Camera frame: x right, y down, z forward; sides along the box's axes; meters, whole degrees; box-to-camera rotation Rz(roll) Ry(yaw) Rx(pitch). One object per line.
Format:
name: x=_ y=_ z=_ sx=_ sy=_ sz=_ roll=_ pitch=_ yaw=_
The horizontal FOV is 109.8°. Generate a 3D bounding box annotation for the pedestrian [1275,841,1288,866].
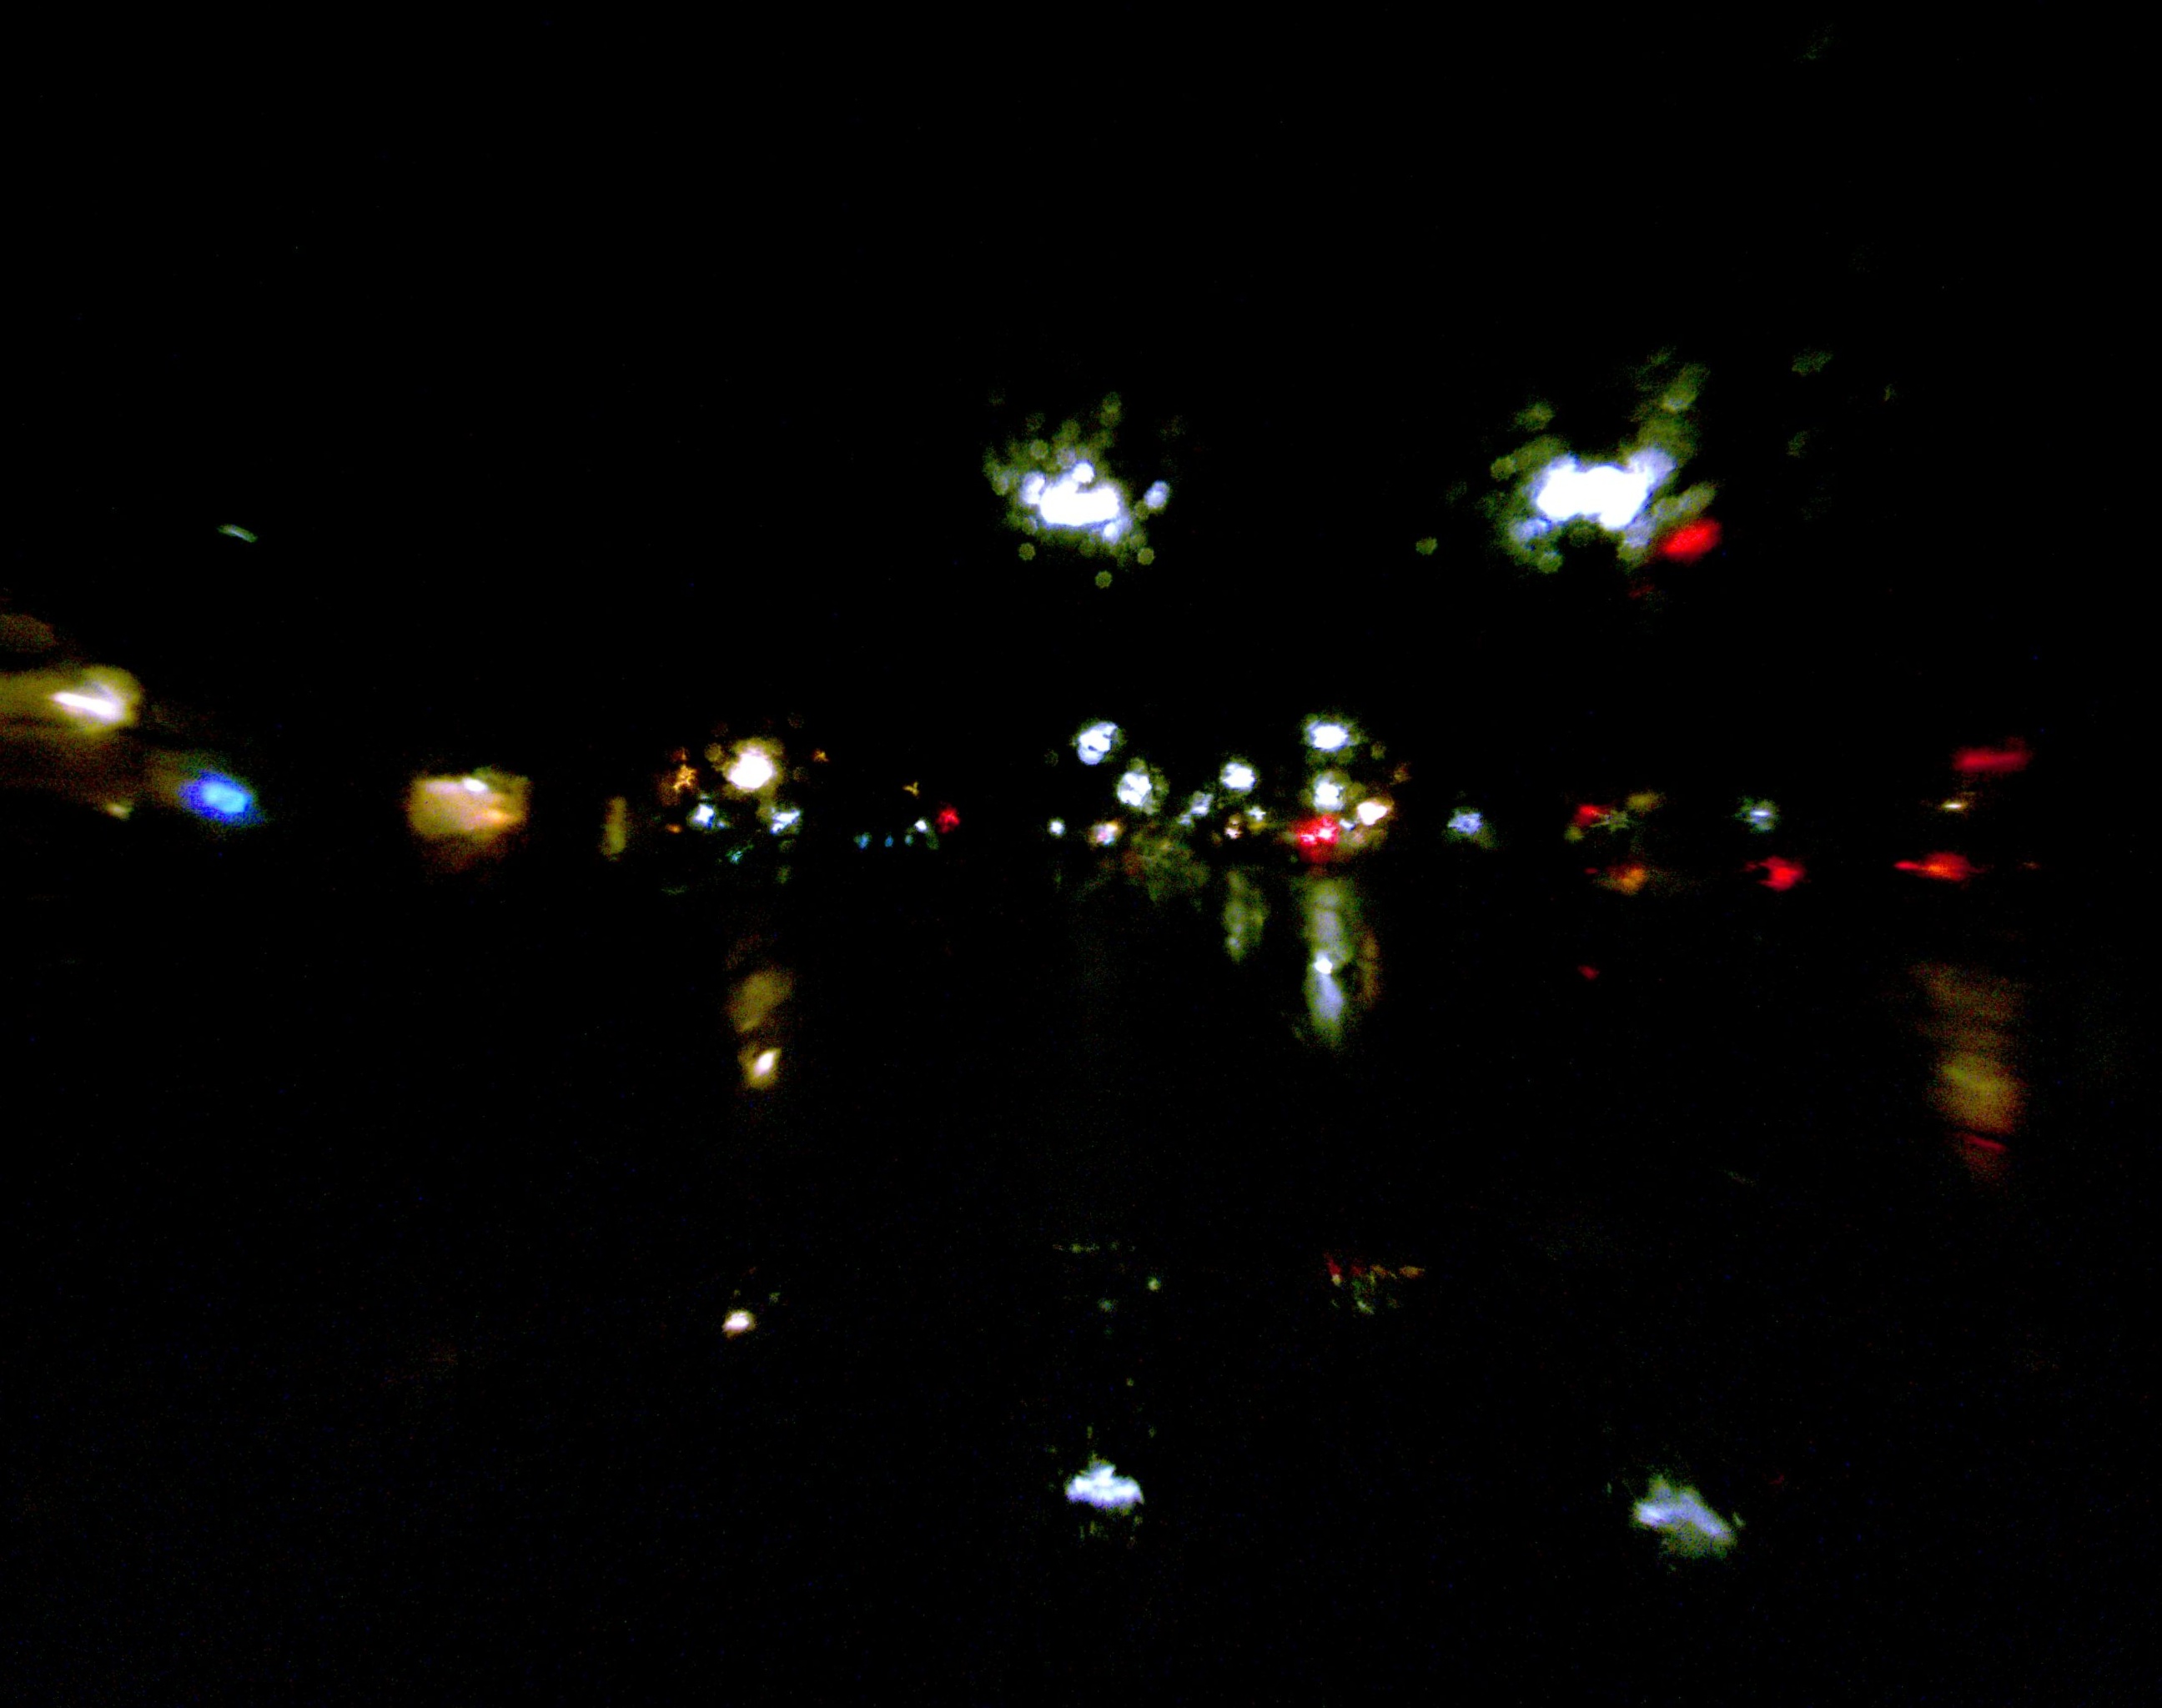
pedestrian: x=12.352 y=-0.046 z=46.848 sx=0.480 sy=1.520 sz=0.585 roll=-3 pitch=2 yaw=-12

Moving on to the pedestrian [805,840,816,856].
pedestrian: x=-26.774 y=-0.591 z=75.211 sx=0.841 sy=1.629 sz=0.635 roll=-1 pitch=3 yaw=31

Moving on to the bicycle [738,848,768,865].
bicycle: x=-21.421 y=0.152 z=49.644 sx=1.625 sy=1.076 sz=0.564 roll=-1 pitch=4 yaw=-10

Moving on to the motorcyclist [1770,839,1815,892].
motorcyclist: x=23.455 y=0.352 z=25.044 sx=0.821 sy=1.686 sz=0.790 roll=-2 pitch=3 yaw=-24

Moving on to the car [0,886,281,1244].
car: x=-5.714 y=0.998 z=2.507 sx=1.648 sy=1.433 sz=4.056 roll=4 pitch=1 yaw=4

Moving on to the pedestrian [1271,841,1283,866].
pedestrian: x=12.230 y=-0.056 z=47.414 sx=0.512 sy=1.539 sz=0.574 roll=-3 pitch=2 yaw=-12

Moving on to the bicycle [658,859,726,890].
bicycle: x=-13.347 y=0.675 z=26.103 sx=1.979 sy=1.001 sz=0.640 roll=0 pitch=2 yaw=-38

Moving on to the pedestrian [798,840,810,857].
pedestrian: x=-27.172 y=-0.563 z=74.605 sx=0.872 sy=1.629 sz=0.635 roll=-1 pitch=3 yaw=30

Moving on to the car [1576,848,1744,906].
car: x=16.709 y=0.613 z=22.029 sx=3.598 sy=1.507 sz=1.923 roll=-1 pitch=2 yaw=-10

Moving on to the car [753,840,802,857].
car: x=-29.536 y=-0.542 z=73.957 sx=4.484 sy=1.585 sz=1.892 roll=0 pitch=3 yaw=28

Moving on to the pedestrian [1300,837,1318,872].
pedestrian: x=11.767 y=0.011 z=39.239 sx=0.671 sy=1.764 sz=0.717 roll=-2 pitch=2 yaw=-4

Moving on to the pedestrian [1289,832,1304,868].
pedestrian: x=12.175 y=-0.237 z=42.974 sx=0.609 sy=1.976 sz=0.859 roll=-2 pitch=2 yaw=3

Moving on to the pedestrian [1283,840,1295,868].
pedestrian: x=12.174 y=-0.024 z=44.493 sx=0.400 sy=1.620 sz=0.531 roll=-4 pitch=3 yaw=-38

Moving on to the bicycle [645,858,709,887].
bicycle: x=-14.694 y=0.646 z=27.644 sx=1.979 sy=1.001 sz=0.640 roll=0 pitch=2 yaw=-38

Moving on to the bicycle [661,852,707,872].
bicycle: x=-20.612 y=0.417 z=39.501 sx=1.975 sy=1.001 sz=0.687 roll=0 pitch=2 yaw=-9

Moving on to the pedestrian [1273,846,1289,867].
pedestrian: x=12.068 y=0.126 z=45.840 sx=0.586 sy=1.246 sz=0.622 roll=-4 pitch=3 yaw=-38

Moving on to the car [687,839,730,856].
car: x=-38.755 y=-0.656 z=79.074 sx=4.274 sy=1.694 sz=1.884 roll=0 pitch=3 yaw=30

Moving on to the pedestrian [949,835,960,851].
pedestrian: x=-11.992 y=-1.070 z=72.023 sx=0.769 sy=1.485 sz=0.632 roll=-4 pitch=3 yaw=-36

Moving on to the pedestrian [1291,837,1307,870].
pedestrian: x=11.847 y=-0.046 z=41.364 sx=0.716 sy=1.764 sz=0.671 roll=-2 pitch=2 yaw=8

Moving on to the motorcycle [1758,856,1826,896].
motorcycle: x=23.465 y=0.707 z=25.071 sx=2.252 sy=1.206 sz=0.790 roll=-2 pitch=3 yaw=-24

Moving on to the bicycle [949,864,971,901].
bicycle: x=-3.576 y=0.816 z=22.484 sx=0.572 sy=0.964 sz=1.779 roll=-2 pitch=2 yaw=-8

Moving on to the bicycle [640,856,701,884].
bicycle: x=-15.552 y=0.578 z=28.820 sx=1.979 sy=1.001 sz=0.640 roll=0 pitch=2 yaw=-38

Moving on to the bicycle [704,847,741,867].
bicycle: x=-21.552 y=0.180 z=45.751 sx=1.875 sy=1.210 sz=0.729 roll=0 pitch=2 yaw=-9

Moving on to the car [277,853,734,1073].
car: x=-5.245 y=0.830 z=7.605 sx=1.651 sy=1.516 sz=3.581 roll=4 pitch=1 yaw=4

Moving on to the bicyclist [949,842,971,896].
bicyclist: x=-3.578 y=0.421 z=22.428 sx=0.572 sy=1.539 sz=0.815 roll=-2 pitch=2 yaw=-8

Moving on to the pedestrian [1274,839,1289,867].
pedestrian: x=11.901 y=-0.047 z=45.071 sx=0.586 sy=1.643 sz=0.558 roll=-4 pitch=3 yaw=-38

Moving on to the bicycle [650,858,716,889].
bicycle: x=-13.969 y=0.671 z=26.685 sx=1.979 sy=1.029 sz=0.640 roll=0 pitch=2 yaw=-38

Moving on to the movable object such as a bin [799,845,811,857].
movable object such as a bin: x=-27.484 y=-0.318 z=75.624 sx=0.920 sy=1.109 sz=0.635 roll=-1 pitch=3 yaw=31

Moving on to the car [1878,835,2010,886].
car: x=32.407 y=0.190 z=28.571 sx=3.801 sy=1.730 sz=1.751 roll=-2 pitch=3 yaw=-15

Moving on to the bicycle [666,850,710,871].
bicycle: x=-21.105 y=0.337 z=40.831 sx=1.933 sy=1.109 sz=0.729 roll=0 pitch=2 yaw=-9
